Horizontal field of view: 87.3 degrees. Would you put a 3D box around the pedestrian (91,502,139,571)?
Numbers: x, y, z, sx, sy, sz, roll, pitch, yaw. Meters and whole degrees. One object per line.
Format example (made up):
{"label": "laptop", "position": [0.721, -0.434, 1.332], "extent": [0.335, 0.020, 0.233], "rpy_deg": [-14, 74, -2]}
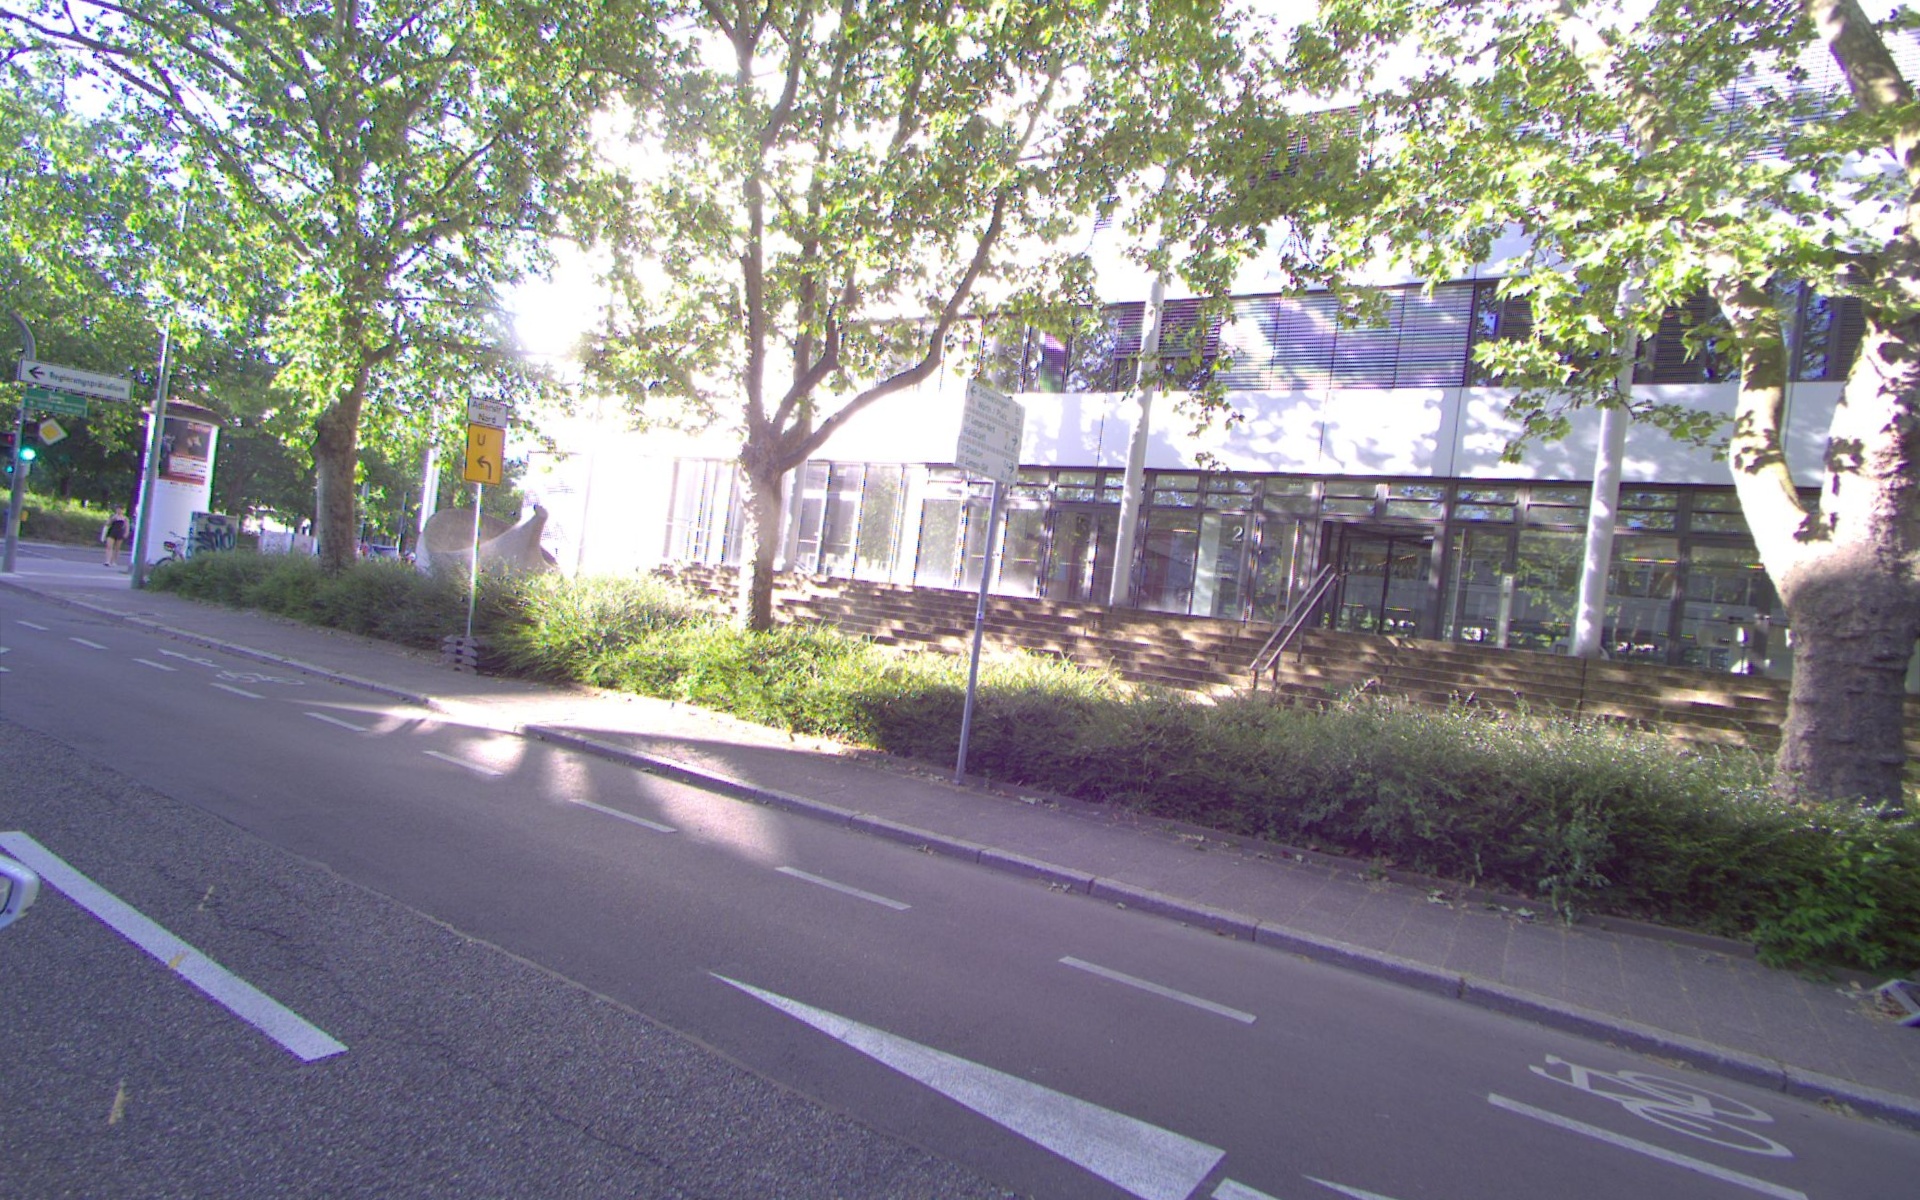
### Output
{"label": "pedestrian", "position": [-22.125, -1.656, 26.347], "extent": [0.795, 1.649, 0.897], "rpy_deg": [8, -1, -41]}

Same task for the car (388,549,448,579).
{"label": "car", "position": [-35.573, -2.341, 65.981], "extent": [3.732, 1.500, 1.633], "rpy_deg": [6, -2, 31]}

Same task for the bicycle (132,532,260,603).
{"label": "bicycle", "position": [-15.947, -0.661, 21.067], "extent": [0.519, 1.203, 1.980], "rpy_deg": [7, -2, 30]}

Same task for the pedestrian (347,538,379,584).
{"label": "pedestrian", "position": [-26.034, -1.699, 43.869], "extent": [0.674, 1.857, 0.782], "rpy_deg": [7, -1, 25]}
